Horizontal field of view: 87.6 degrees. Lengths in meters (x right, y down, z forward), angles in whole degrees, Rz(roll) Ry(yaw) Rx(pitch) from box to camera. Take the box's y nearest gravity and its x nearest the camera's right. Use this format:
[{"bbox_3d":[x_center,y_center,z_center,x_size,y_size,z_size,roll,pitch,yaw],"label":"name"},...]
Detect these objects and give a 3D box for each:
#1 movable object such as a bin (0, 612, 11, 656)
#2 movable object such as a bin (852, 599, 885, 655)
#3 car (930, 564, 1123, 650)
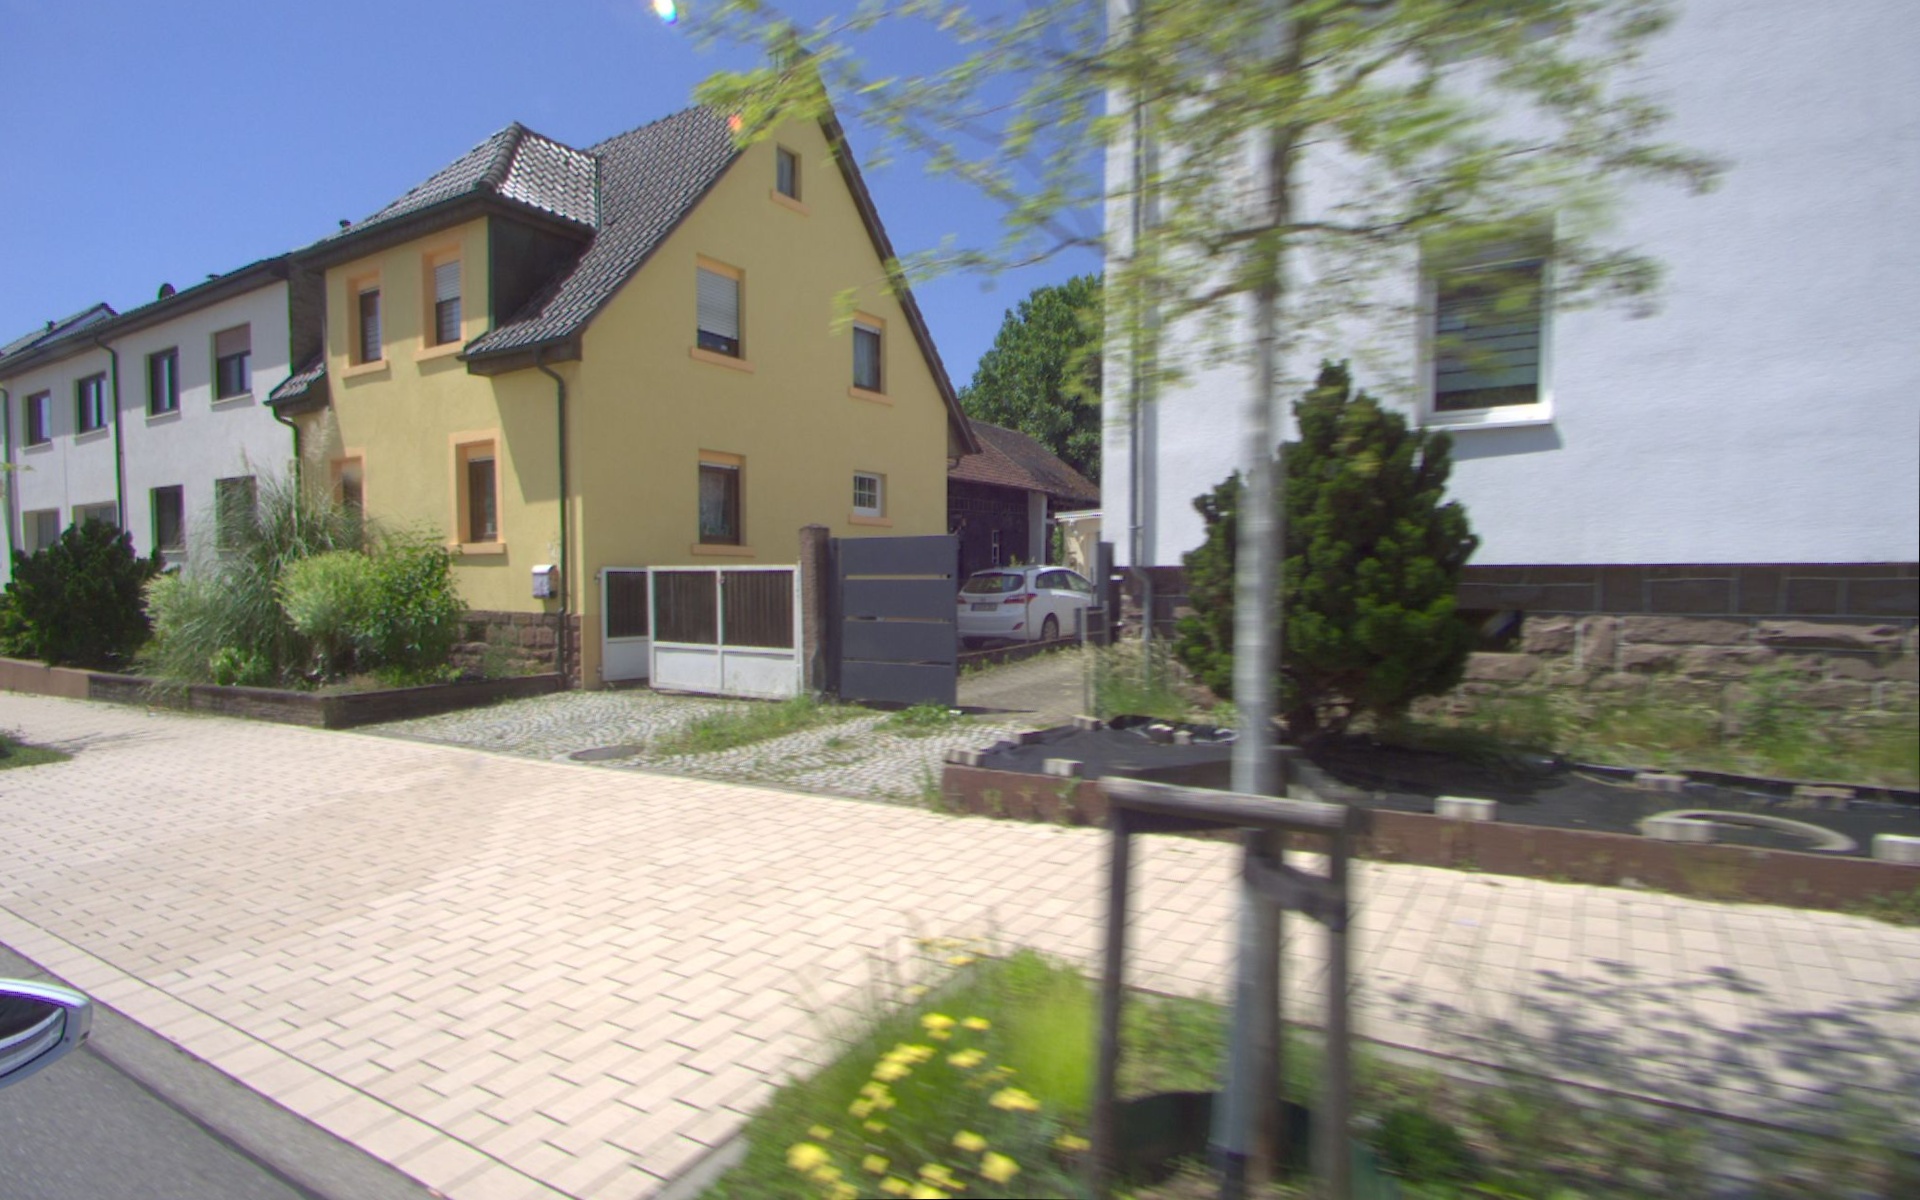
[{"bbox_3d":[-25.109,0.896,25.896,0.852,1.122,0.681,0,4,41],"label":"movable object such as a bin"},{"bbox_3d":[-1.639,0.470,17.935,0.446,0.977,0.399,2,3,33],"label":"movable object such as a bin"},{"bbox_3d":[1.392,0.097,19.222,1.893,1.459,4.137,-1,1,33],"label":"car"}]
